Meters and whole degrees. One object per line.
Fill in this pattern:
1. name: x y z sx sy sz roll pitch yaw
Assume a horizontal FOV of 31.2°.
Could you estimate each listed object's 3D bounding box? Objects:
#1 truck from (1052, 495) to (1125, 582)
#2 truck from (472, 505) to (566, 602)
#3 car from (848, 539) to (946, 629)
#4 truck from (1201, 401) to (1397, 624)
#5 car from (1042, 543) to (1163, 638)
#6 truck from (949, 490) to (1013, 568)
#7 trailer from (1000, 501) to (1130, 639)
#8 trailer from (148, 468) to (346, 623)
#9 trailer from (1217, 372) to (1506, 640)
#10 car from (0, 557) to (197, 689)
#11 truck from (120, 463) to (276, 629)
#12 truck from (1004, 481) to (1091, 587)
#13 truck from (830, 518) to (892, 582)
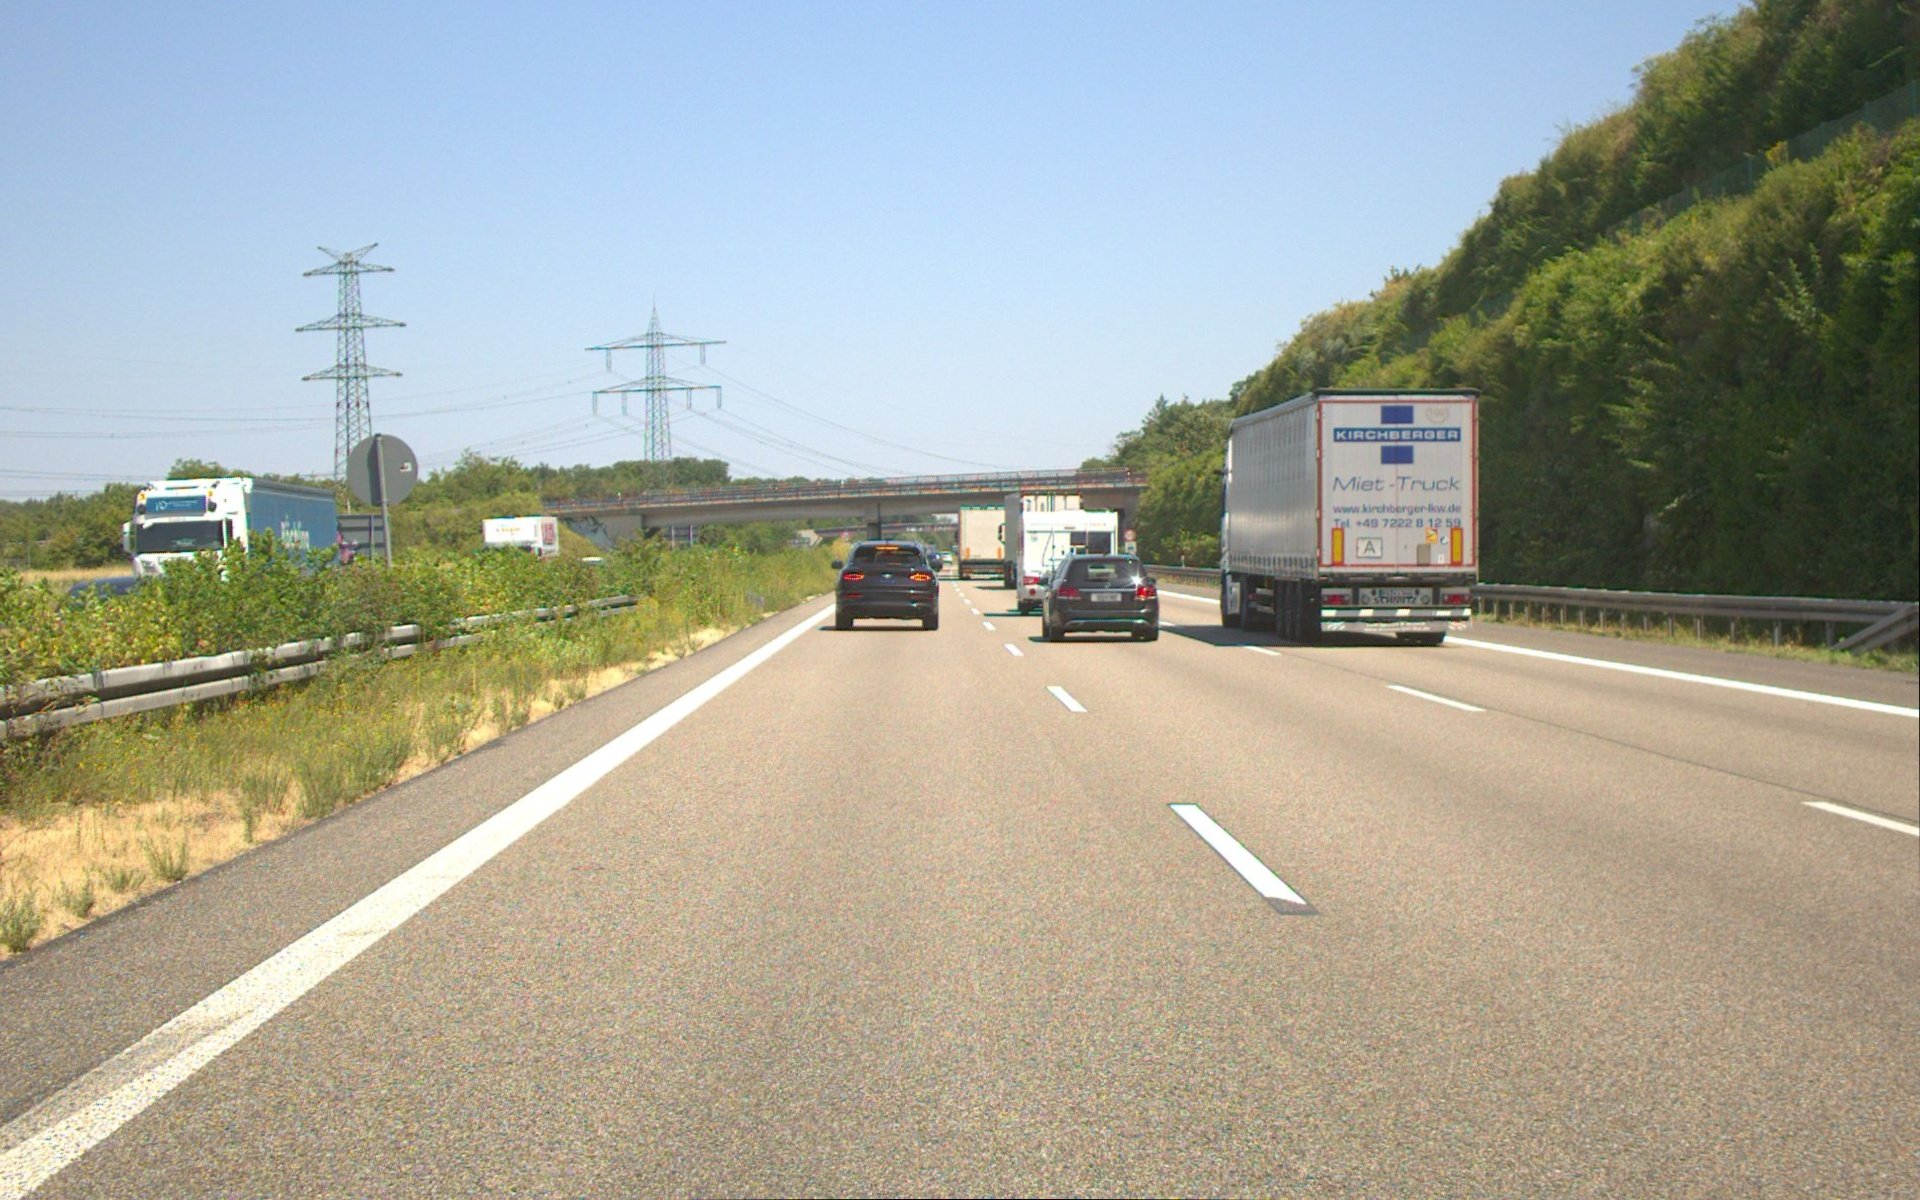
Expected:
1. truck: 6.476 -3.124 174.791 3.119 4.265 10.168 -1 1 -1
2. truck: -19.681 -2.102 153.885 2.873 4.162 10.569 -1 1 -1
3. car: -1.252 -0.344 67.286 1.830 1.665 4.000 -1 1 -1
4. truck: 6.587 -1.692 67.553 3.135 4.127 5.504 -1 1 -1
5. car: 2.402 -0.189 58.703 1.830 1.520 4.000 -1 1 0
6. truck: 1.124 -4.025 195.809 3.409 4.265 10.608 0 1 -1
7. trailer: 2.527 -0.795 85.982 2.610 3.202 9.953 -1 1 -2
8. trailer: -19.537 -1.517 95.127 2.693 3.924 13.910 -1 1 -1
9. trailer: 6.726 -1.570 59.969 3.183 4.107 13.432 -1 1 -1
10. car: -10.660 0.242 42.178 1.751 1.481 4.202 -2 1 -2
11. truck: -19.420 -1.391 87.939 2.696 4.054 5.802 -1 1 -1
12. truck: 3.660 -2.797 146.268 3.119 4.265 11.934 -1 1 -1
13. truck: -6.674 -3.376 232.020 3.961 4.099 9.953 -1 1 -2
